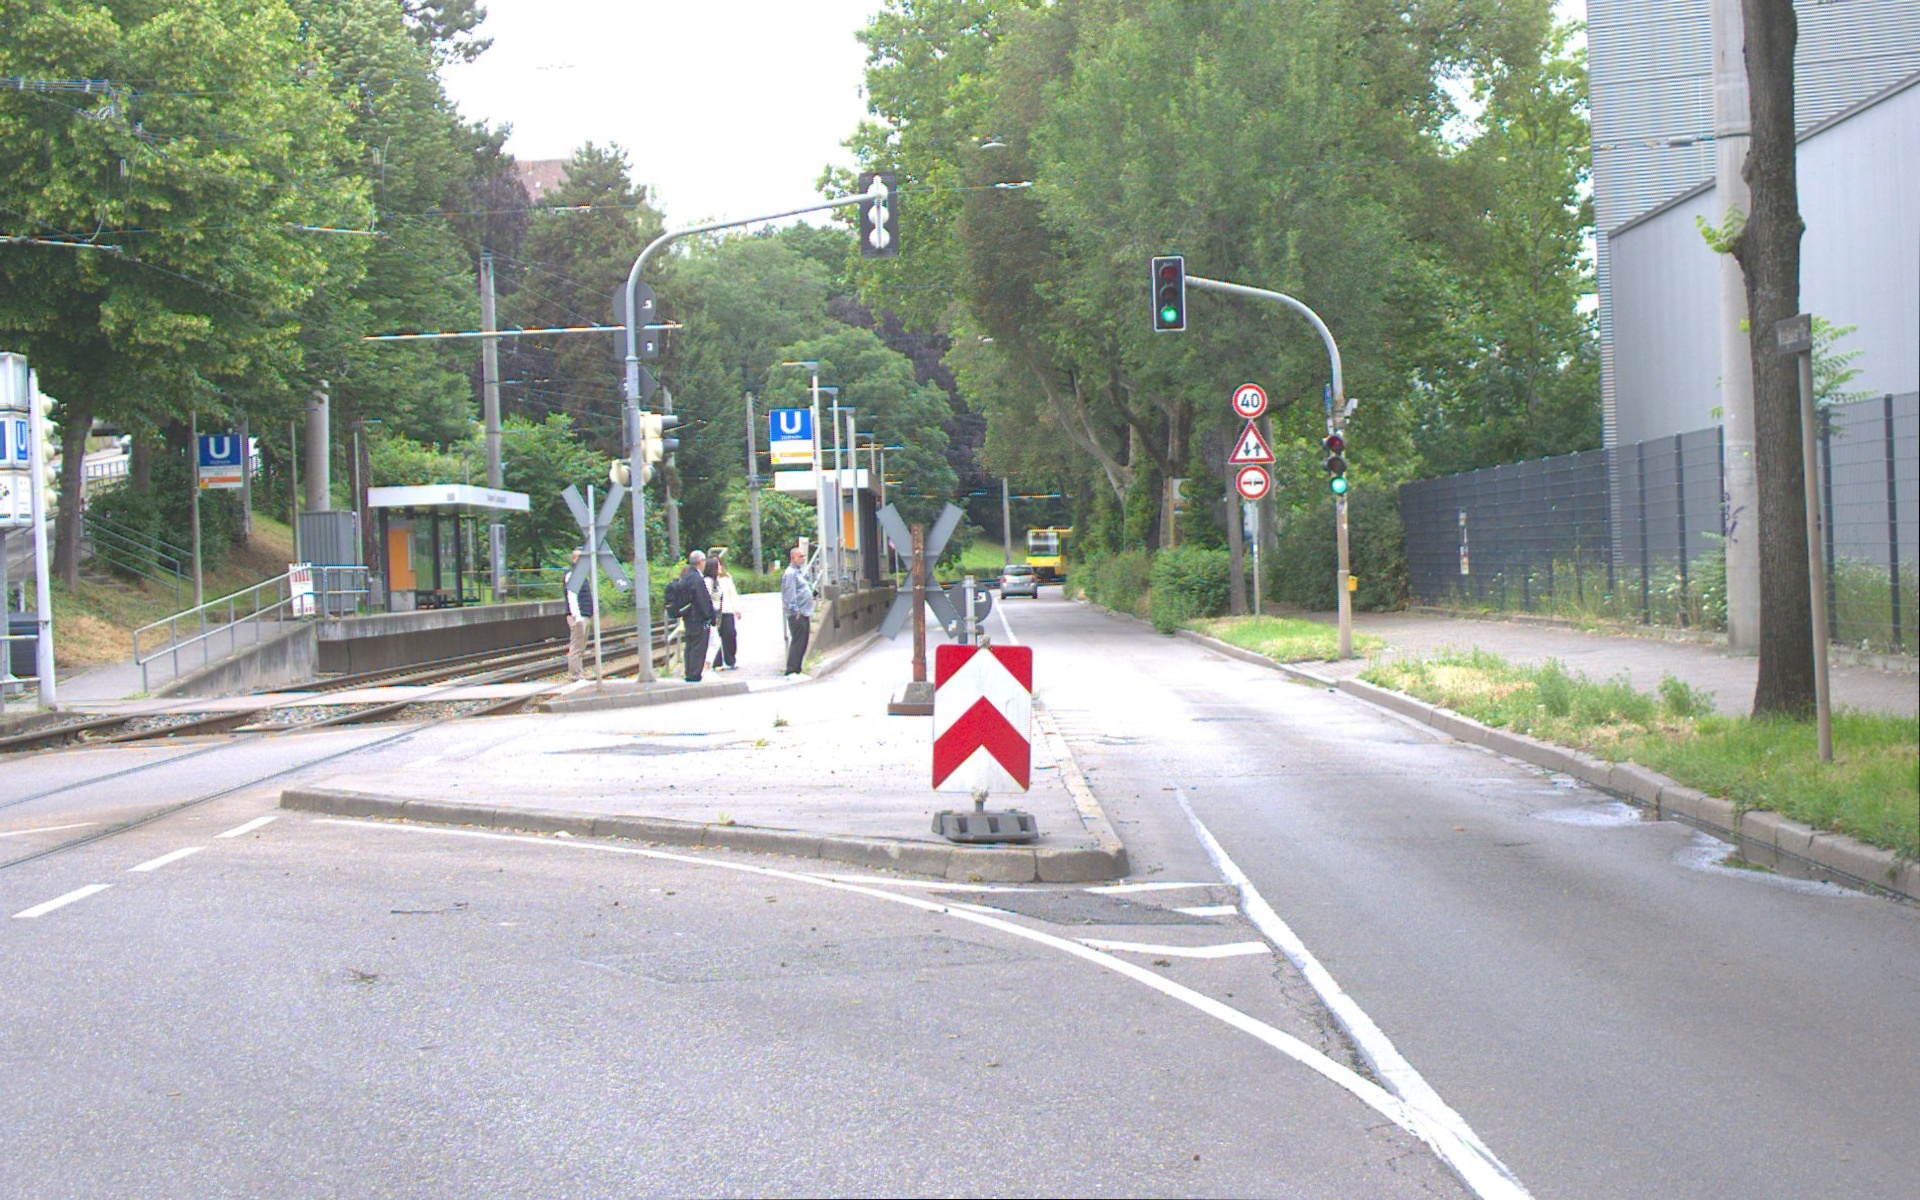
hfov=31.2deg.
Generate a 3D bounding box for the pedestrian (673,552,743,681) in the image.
[{"bbox_3d":[-3.284,0.212,44.871,0.680,1.659,0.737,1,0,16],"label":"pedestrian"}]

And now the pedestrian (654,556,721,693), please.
[{"bbox_3d":[-3.345,0.290,42.234,0.735,1.659,0.682,1,0,2],"label":"pedestrian"}]

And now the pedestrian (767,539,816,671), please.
[{"bbox_3d":[-2.254,0.064,46.054,0.550,1.752,0.737,1,0,5],"label":"pedestrian"}]

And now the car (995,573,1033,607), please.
[{"bbox_3d":[2.534,-0.488,162.509,1.743,1.593,4.000,0,0,0],"label":"car"}]

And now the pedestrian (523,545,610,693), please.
[{"bbox_3d":[-4.887,0.225,42.702,0.670,1.815,0.803,1,0,45],"label":"pedestrian"}]

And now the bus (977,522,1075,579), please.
[{"bbox_3d":[4.445,-3.280,229.618,2.738,3.614,8.928,1,0,28],"label":"bus"}]

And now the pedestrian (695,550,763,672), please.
[{"bbox_3d":[-3.190,0.151,47.578,0.680,1.659,0.737,1,0,21],"label":"pedestrian"}]

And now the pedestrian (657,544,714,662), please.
[{"bbox_3d":[-3.917,0.043,49.029,0.735,1.659,0.682,1,0,-10],"label":"pedestrian"}]
